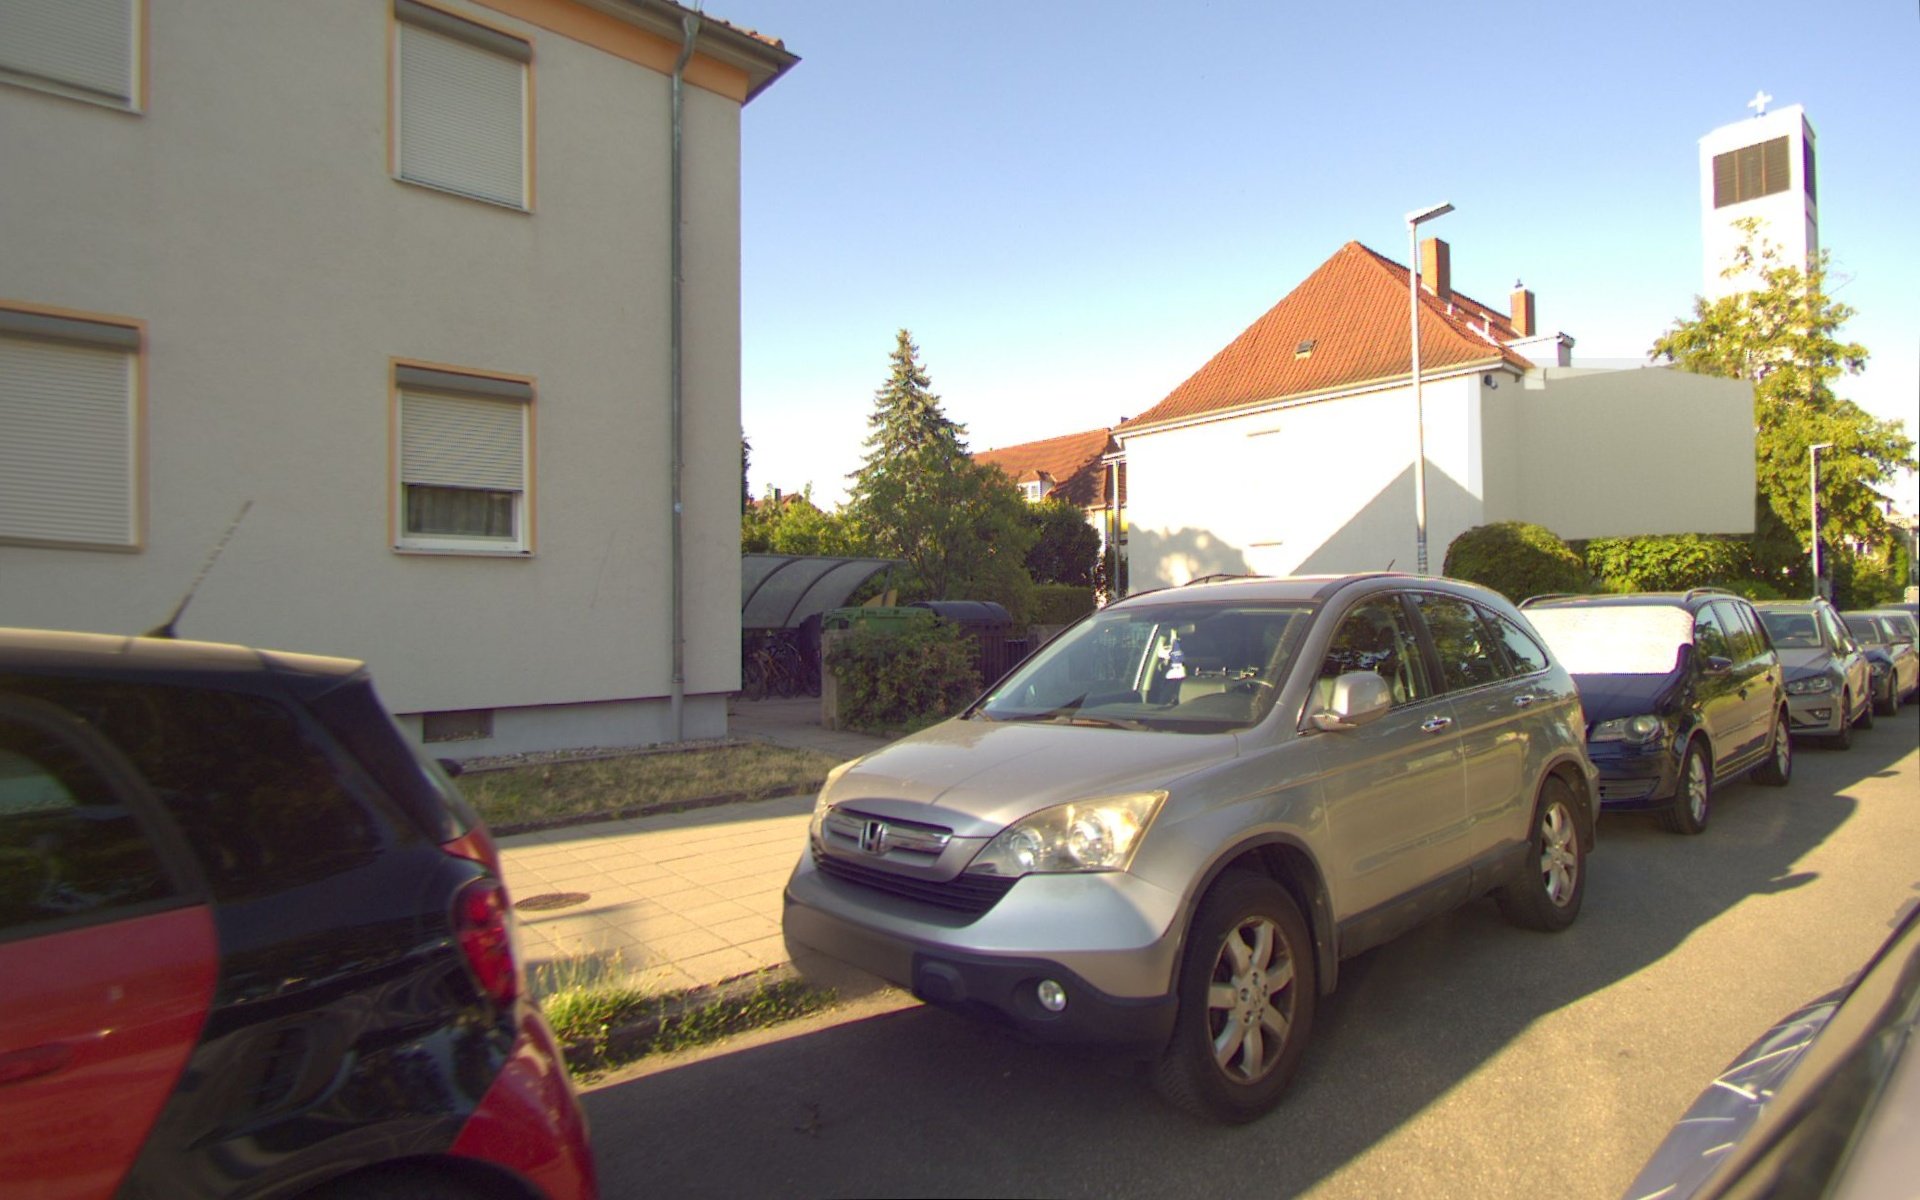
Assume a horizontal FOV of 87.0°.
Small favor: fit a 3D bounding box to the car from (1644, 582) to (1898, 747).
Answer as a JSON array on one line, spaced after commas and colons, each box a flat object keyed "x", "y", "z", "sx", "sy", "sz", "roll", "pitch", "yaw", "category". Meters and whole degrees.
[{"x": 9.583, "y": 0.635, "z": 11.825, "sx": 4.343, "sy": 1.581, "sz": 1.725, "roll": 0, "pitch": -2, "yaw": -44, "category": "car"}]

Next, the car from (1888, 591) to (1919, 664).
[{"x": 25.151, "y": 0.625, "z": 25.572, "sx": 4.541, "sy": 1.743, "sz": 1.935, "roll": 0, "pitch": -4, "yaw": -41, "category": "car"}]

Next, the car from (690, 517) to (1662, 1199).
[{"x": 1.375, "y": 0.627, "z": 4.492, "sx": 4.674, "sy": 1.664, "sz": 1.779, "roll": -1, "pitch": -1, "yaw": -42, "category": "car"}]

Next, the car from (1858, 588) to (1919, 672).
[{"x": 21.135, "y": 0.596, "z": 21.914, "sx": 4.735, "sy": 1.679, "sz": 1.857, "roll": 0, "pitch": -2, "yaw": -41, "category": "car"}]

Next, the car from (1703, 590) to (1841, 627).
[{"x": 38.929, "y": 0.429, "z": 48.630, "sx": 1.969, "sy": 1.504, "sz": 4.853, "roll": -5, "pitch": 1, "yaw": -41, "category": "car"}]

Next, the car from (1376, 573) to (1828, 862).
[{"x": 5.327, "y": 0.677, "z": 8.092, "sx": 4.683, "sy": 1.656, "sz": 1.768, "roll": -1, "pitch": -2, "yaw": -42, "category": "car"}]

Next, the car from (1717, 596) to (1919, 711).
[{"x": 13.352, "y": 0.723, "z": 15.313, "sx": 4.480, "sy": 1.481, "sz": 1.997, "roll": -1, "pitch": -3, "yaw": -40, "category": "car"}]

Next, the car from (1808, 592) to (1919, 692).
[{"x": 17.035, "y": 0.702, "z": 18.488, "sx": 4.137, "sy": 1.568, "sz": 1.728, "roll": -1, "pitch": -5, "yaw": -43, "category": "car"}]

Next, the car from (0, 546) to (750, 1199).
[{"x": -2.336, "y": 0.707, "z": 1.366, "sx": 3.670, "sy": 1.546, "sz": 1.732, "roll": 0, "pitch": 0, "yaw": -42, "category": "car"}]
